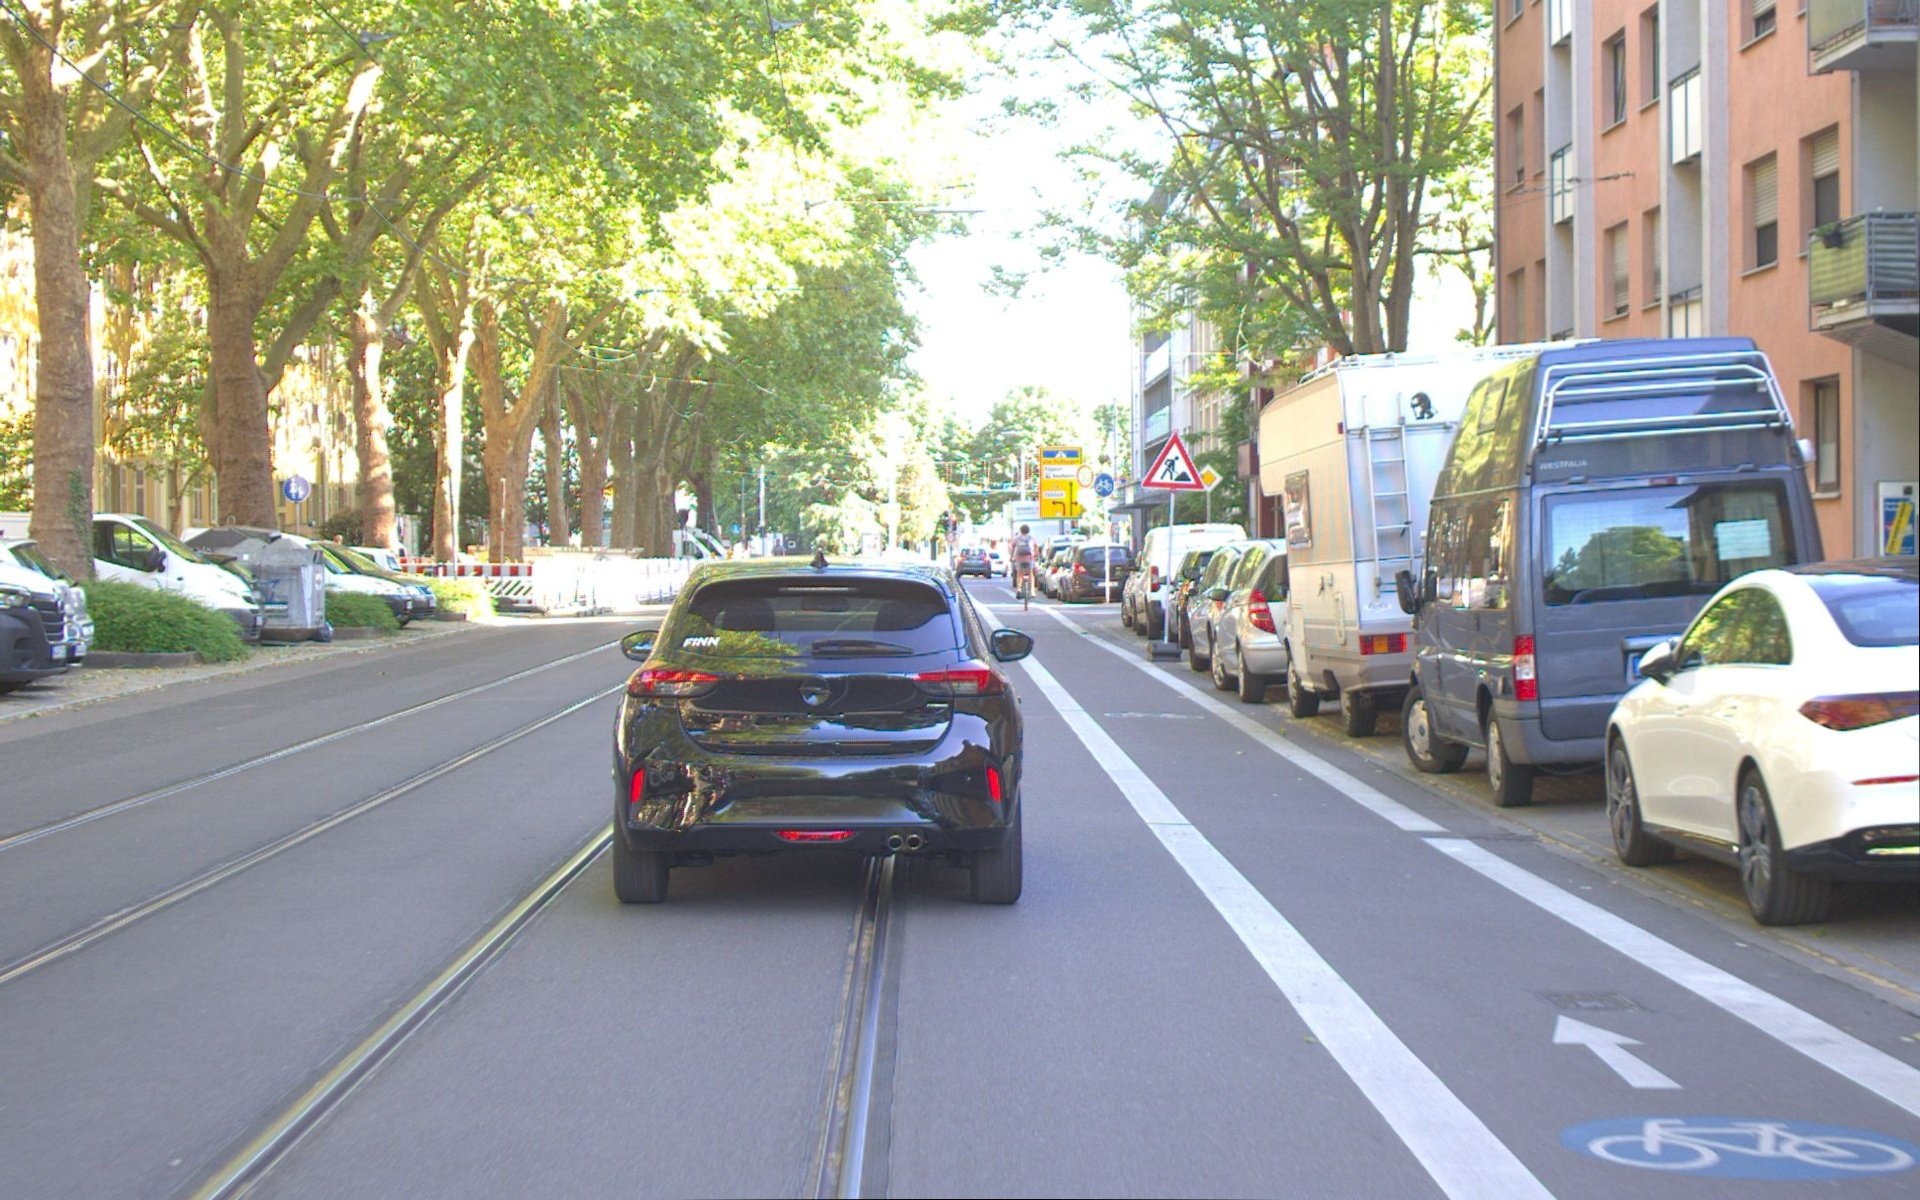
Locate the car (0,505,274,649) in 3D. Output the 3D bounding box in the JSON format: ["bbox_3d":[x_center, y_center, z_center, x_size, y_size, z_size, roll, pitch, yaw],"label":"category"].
[{"bbox_3d":[-11.899,-0.329,47.374,4.656,1.938,1.962,0,1,-7],"label":"car"}]

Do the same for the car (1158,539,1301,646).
[{"bbox_3d":[3.916,-0.141,50.489,1.705,1.468,4.168,-1,1,-1],"label":"car"}]

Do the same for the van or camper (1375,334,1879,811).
[{"bbox_3d":[4.131,-0.201,22.208,2.132,2.654,4.980,-2,1,-1],"label":"van or camper"}]

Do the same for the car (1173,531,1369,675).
[{"bbox_3d":[3.580,-0.002,40.209,1.788,1.517,4.322,-2,1,-1],"label":"car"}]

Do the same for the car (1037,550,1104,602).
[{"bbox_3d":[3.178,-0.714,99.374,1.659,1.394,4.740,-2,1,-1],"label":"car"}]

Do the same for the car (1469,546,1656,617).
[{"bbox_3d":[13.575,-0.423,77.608,3.913,1.477,1.562,0,4,-1],"label":"car"}]

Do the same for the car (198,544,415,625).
[{"bbox_3d":[-12.709,-0.307,66.982,3.847,1.492,1.862,-1,1,0],"label":"car"}]

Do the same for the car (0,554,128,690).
[{"bbox_3d":[-11.218,0.240,36.633,4.264,1.394,1.753,-1,1,0],"label":"car"}]

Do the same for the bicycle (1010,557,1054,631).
[{"bbox_3d":[1.576,-0.151,75.806,0.916,1.555,3.405,0,1,0],"label":"bicycle"}]

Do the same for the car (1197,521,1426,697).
[{"bbox_3d":[3.518,0.048,35.123,1.793,1.622,4.277,-2,1,-1],"label":"car"}]

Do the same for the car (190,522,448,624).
[{"bbox_3d":[-11.256,-0.482,60.556,4.198,1.751,1.740,0,1,1],"label":"car"}]

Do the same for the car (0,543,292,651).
[{"bbox_3d":[-11.873,-0.056,50.177,3.847,1.492,1.862,-1,1,0],"label":"car"}]

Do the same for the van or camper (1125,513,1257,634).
[{"bbox_3d":[3.723,-0.456,56.124,1.755,1.858,4.831,-1,1,-1],"label":"van or camper"}]

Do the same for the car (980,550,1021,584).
[{"bbox_3d":[2.119,-1.773,182.369,1.993,1.690,4.740,-2,1,-1],"label":"car"}]

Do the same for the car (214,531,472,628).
[{"bbox_3d":[-11.238,-0.381,62.792,4.235,1.682,1.933,-1,1,7],"label":"car"}]

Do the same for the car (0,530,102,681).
[{"bbox_3d":[-11.842,0.069,38.771,3.847,1.657,1.862,-1,1,0],"label":"car"}]

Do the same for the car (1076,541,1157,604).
[{"bbox_3d":[3.899,-0.705,85.968,1.733,1.457,3.916,-2,1,-1],"label":"car"}]

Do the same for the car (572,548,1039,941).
[{"bbox_3d":[-0.618,0.524,15.152,1.781,1.491,4.000,0,1,-1],"label":"car"}]

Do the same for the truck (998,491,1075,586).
[{"bbox_3d":[2.792,-2.256,127.500,2.538,3.326,7.195,-3,1,0],"label":"truck"}]

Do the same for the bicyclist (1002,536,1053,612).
[{"bbox_3d":[1.482,-0.579,75.738,1.089,1.641,1.400,0,1,0],"label":"bicyclist"}]

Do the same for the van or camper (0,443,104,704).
[{"bbox_3d":[-11.560,-0.288,34.327,5.389,2.507,2.445,0,1,1],"label":"van or camper"}]

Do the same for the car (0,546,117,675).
[{"bbox_3d":[-12.243,0.131,41.095,3.847,1.492,1.862,-1,1,0],"label":"car"}]

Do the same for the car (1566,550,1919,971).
[{"bbox_3d":[4.124,0.562,15.217,1.993,1.488,4.740,-2,1,0],"label":"car"}]

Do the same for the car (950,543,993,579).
[{"bbox_3d":[0.561,-1.982,172.543,1.993,1.690,4.740,-2,1,-1],"label":"car"}]

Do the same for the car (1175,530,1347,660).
[{"bbox_3d":[3.922,-0.105,45.409,1.767,1.567,4.337,-2,1,-1],"label":"car"}]

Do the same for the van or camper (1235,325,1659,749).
[{"bbox_3d":[3.874,-0.524,28.708,2.462,3.053,6.268,-2,1,-1],"label":"van or camper"}]
